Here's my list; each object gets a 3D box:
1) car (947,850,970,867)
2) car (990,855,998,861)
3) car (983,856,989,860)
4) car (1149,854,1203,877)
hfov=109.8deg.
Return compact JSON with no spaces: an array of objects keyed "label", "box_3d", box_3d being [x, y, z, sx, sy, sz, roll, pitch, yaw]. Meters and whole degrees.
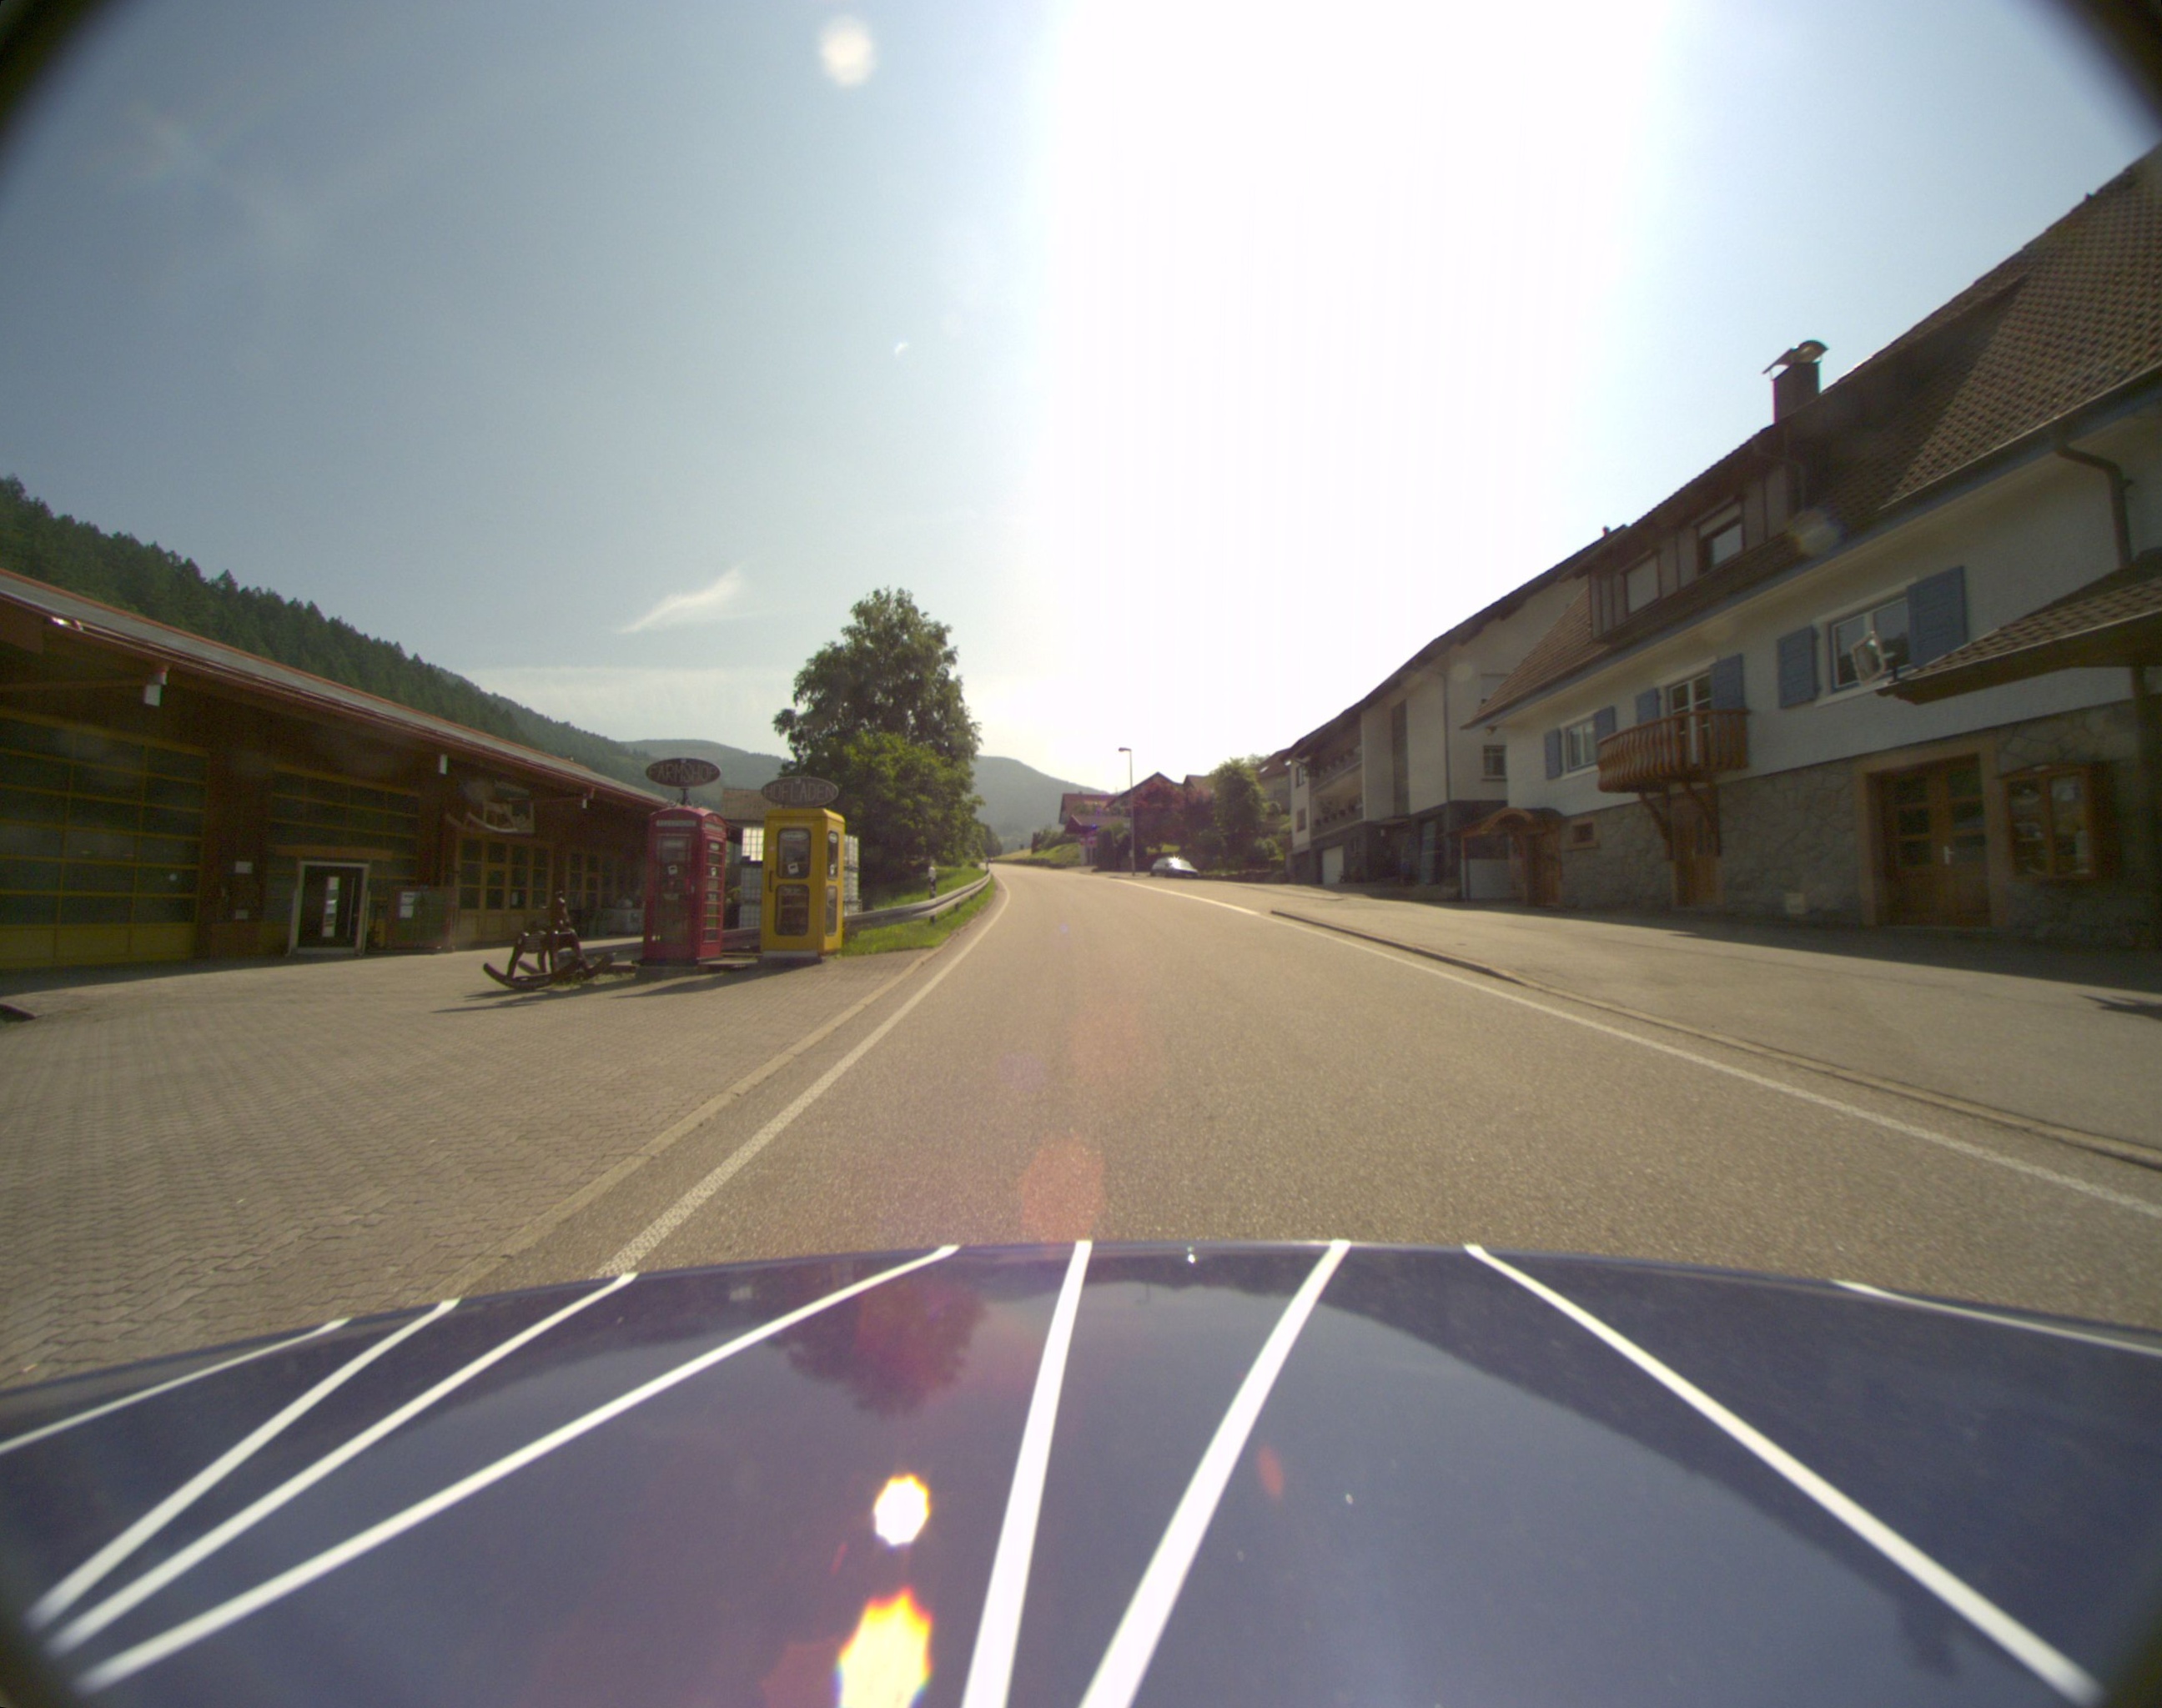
[{"label":"car","box_3d":[-13.211,0.493,82.299,1.813,1.803,4.663,1,0,-1]},{"label":"car","box_3d":[-23.400,1.143,204.359,1.817,1.500,4.258,-1,0,-10]},{"label":"car","box_3d":[-31.040,1.279,247.871,1.817,1.500,4.258,-1,0,-11]},{"label":"car","box_3d":[5.708,0.665,46.372,1.788,1.331,4.690,0,0,-13]}]
